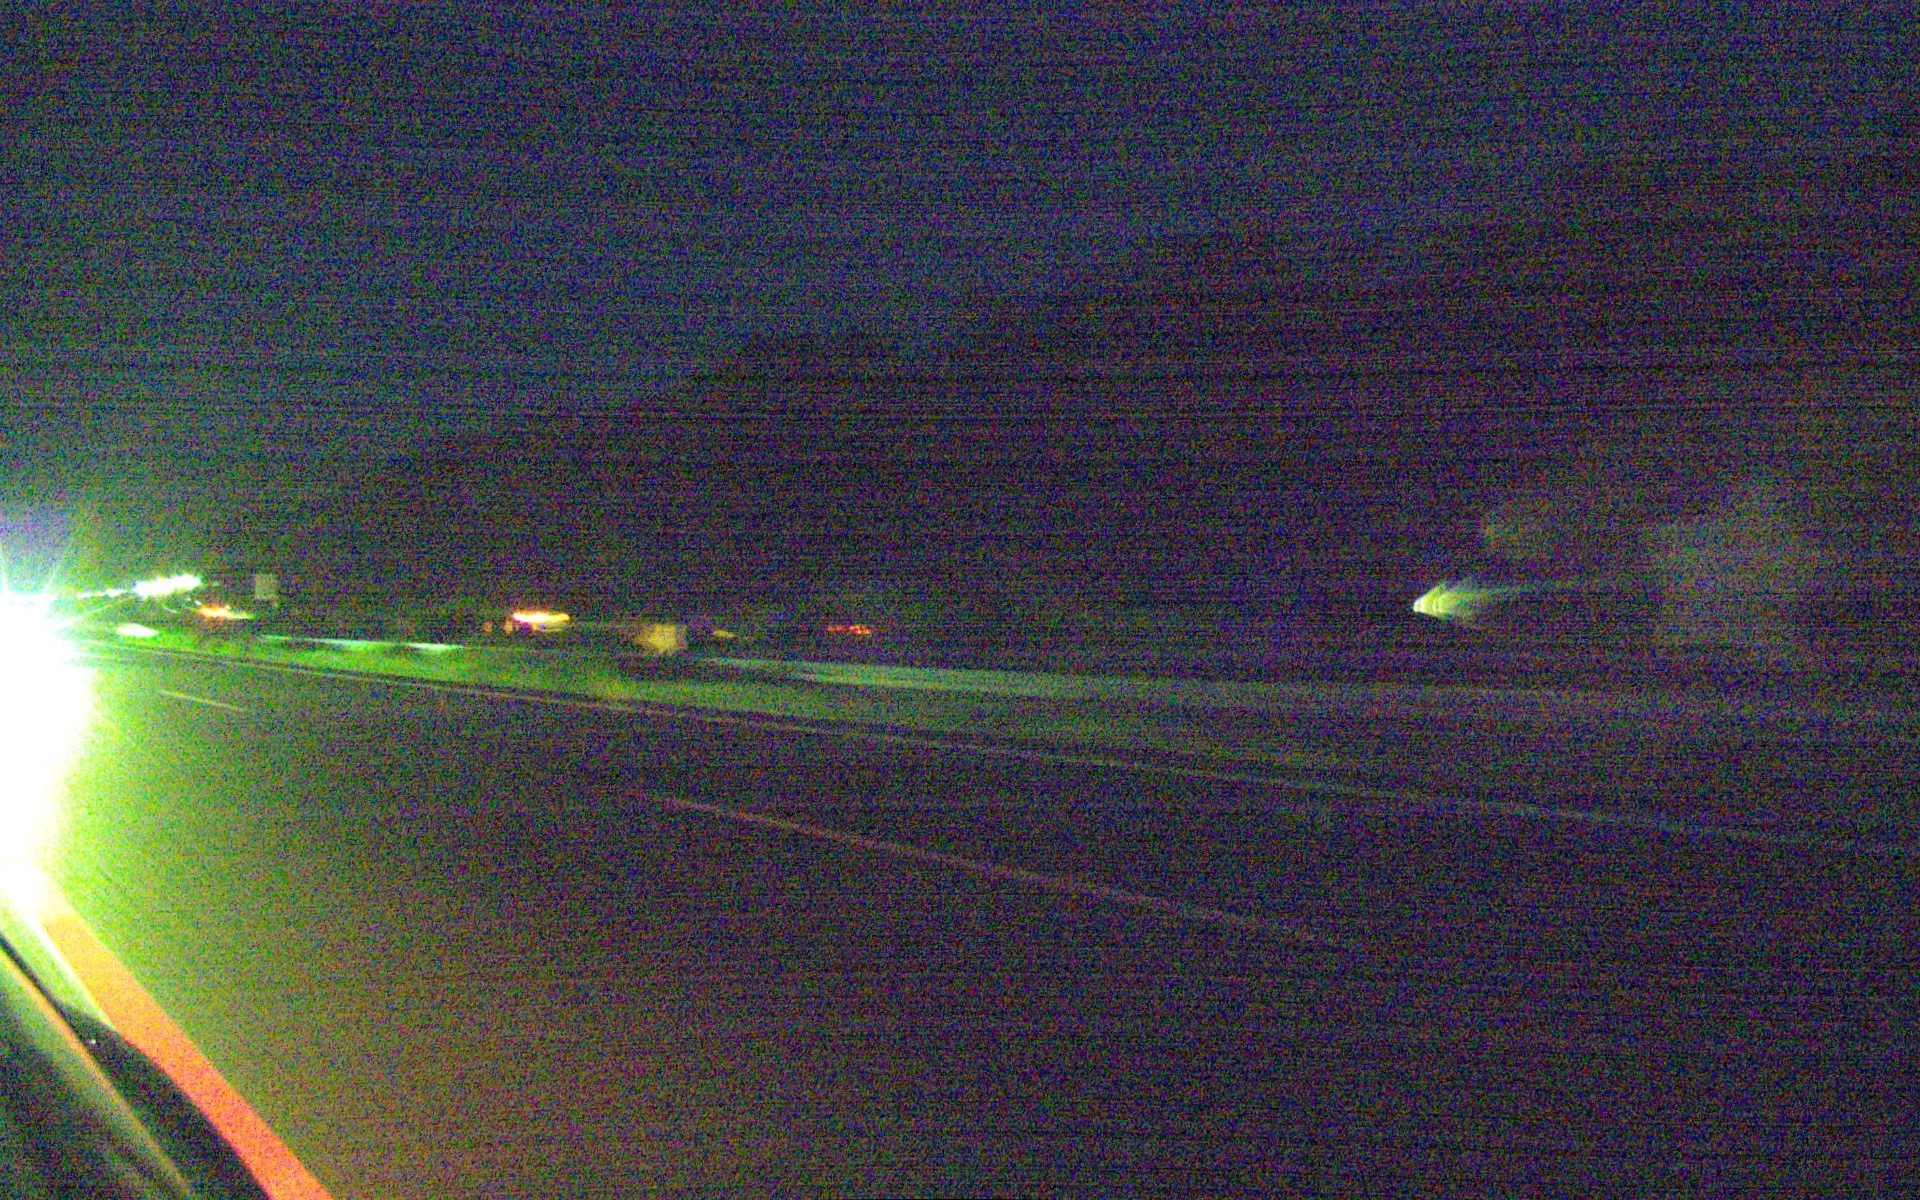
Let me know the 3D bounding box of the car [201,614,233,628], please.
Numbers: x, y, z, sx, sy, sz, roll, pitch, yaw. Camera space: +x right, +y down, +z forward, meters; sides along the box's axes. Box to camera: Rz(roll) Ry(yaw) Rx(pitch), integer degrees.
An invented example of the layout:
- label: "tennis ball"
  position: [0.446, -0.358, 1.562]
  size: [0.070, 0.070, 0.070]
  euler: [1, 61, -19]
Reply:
- label: "car"
  position: [-81.877, 2.277, 111.483]
  size: [4.314, 1.519, 1.972]
  euler: [-1, -1, 42]

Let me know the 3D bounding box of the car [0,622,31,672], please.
- label: "car"
  position: [-30.393, 1.458, 31.524]
  size: [3.999, 1.423, 1.809]
  euler: [0, 1, 42]

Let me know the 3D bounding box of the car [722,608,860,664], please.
- label: "car"
  position: [-5.032, 1.030, 29.831]
  size: [3.999, 1.519, 1.972]
  euler: [-1, -1, 42]

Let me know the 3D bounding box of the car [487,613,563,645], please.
- label: "car"
  position: [-21.499, 1.398, 50.003]
  size: [3.999, 1.519, 1.972]
  euler: [-1, -1, 42]
